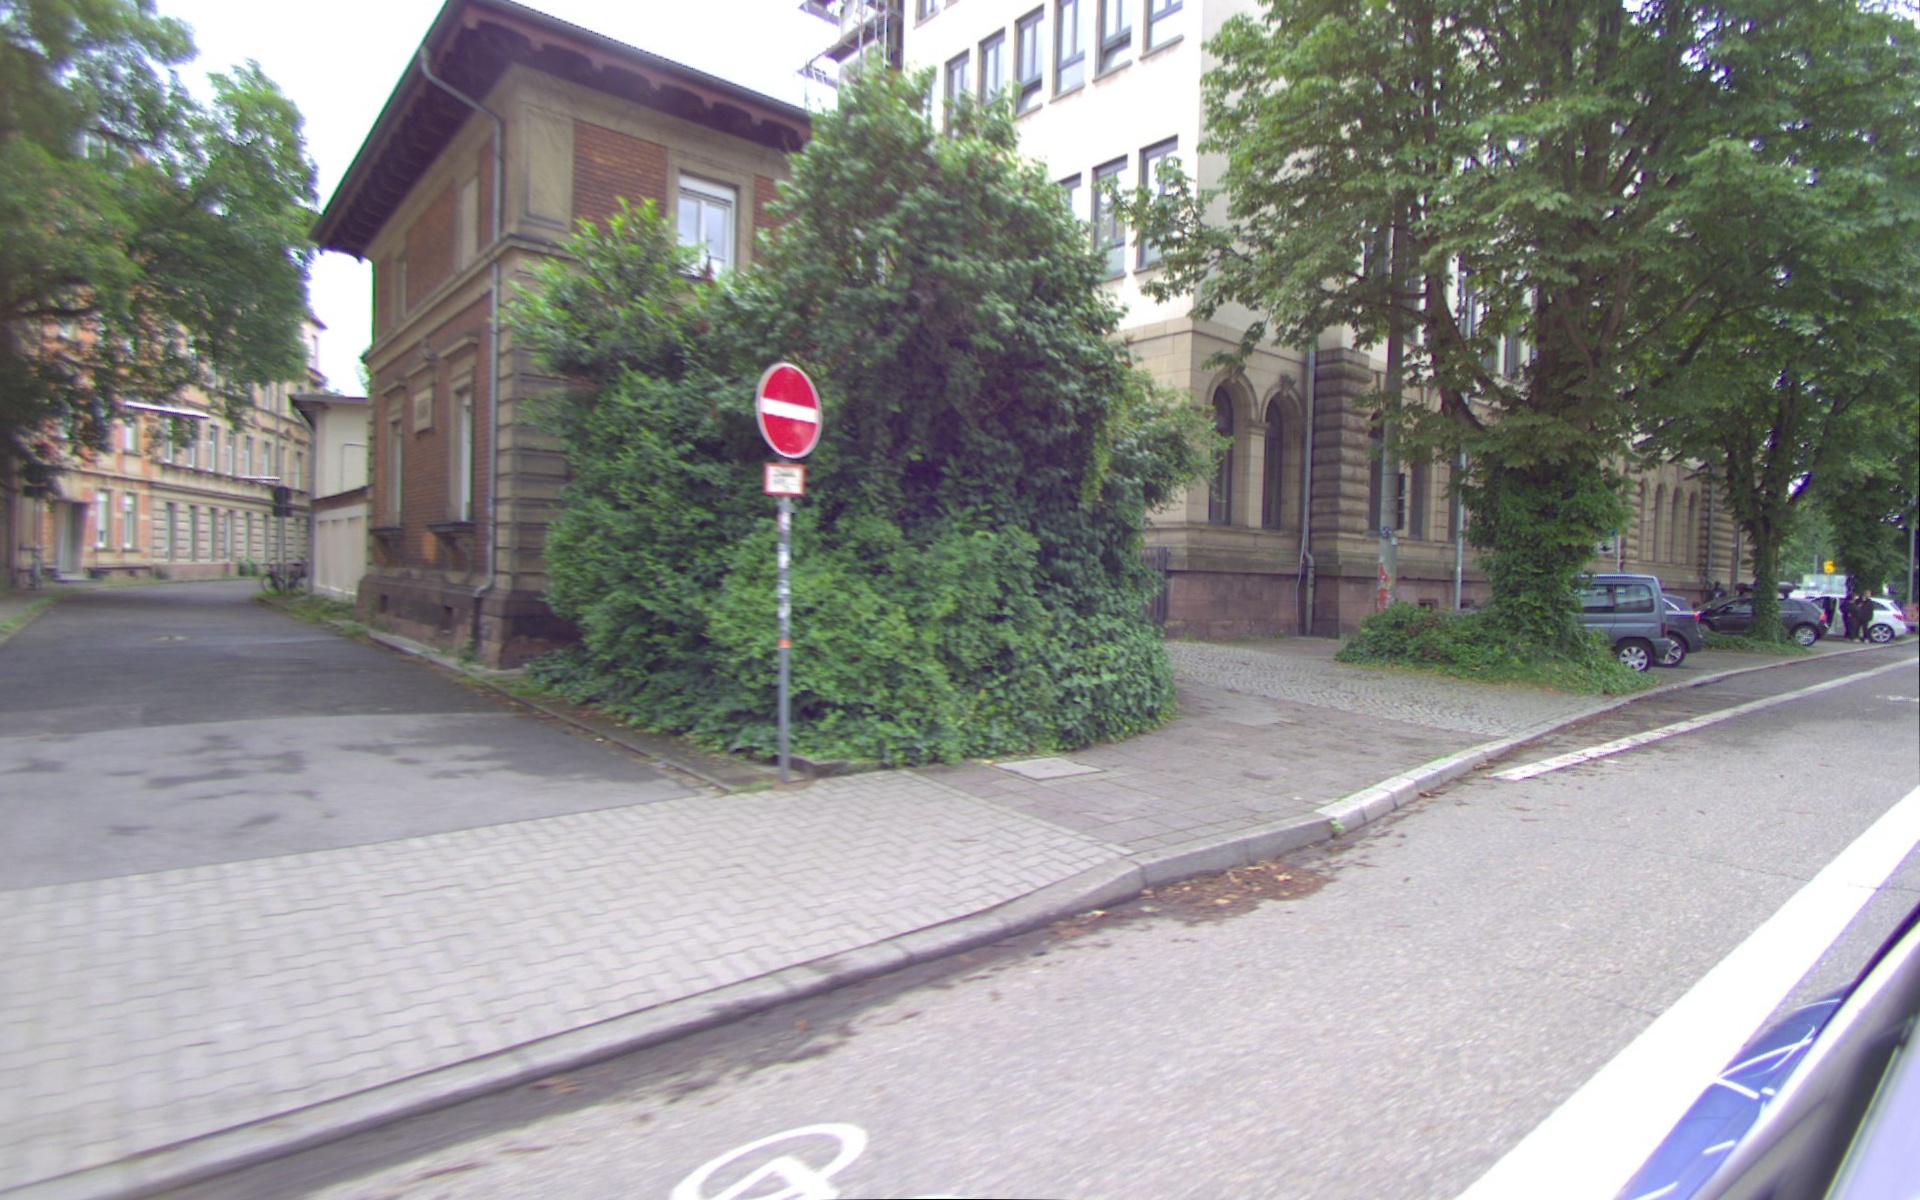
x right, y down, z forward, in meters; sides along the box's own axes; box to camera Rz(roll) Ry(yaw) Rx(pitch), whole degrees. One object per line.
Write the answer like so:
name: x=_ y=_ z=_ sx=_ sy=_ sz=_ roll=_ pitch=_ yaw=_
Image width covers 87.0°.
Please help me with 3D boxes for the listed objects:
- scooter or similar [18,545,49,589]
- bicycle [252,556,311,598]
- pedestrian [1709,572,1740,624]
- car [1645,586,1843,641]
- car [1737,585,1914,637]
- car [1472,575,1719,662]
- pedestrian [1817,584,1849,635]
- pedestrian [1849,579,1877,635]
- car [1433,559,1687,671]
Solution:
scooter or similar: x=-24.664 y=-0.894 z=26.942 sx=0.542 sy=1.142 sz=1.859 roll=0 pitch=2 yaw=-41
bicycle: x=-21.139 y=-0.722 z=31.559 sx=0.482 sy=1.287 sz=1.452 roll=3 pitch=2 yaw=44
pedestrian: x=28.431 y=-0.085 z=37.623 sx=0.738 sy=1.861 sz=0.680 roll=0 pitch=3 yaw=-40
car: x=23.392 y=0.353 z=30.374 sx=4.273 sy=1.419 sz=1.745 roll=2 pitch=2 yaw=18
car: x=29.699 y=0.344 z=34.909 sx=4.286 sy=1.571 sz=1.733 roll=2 pitch=2 yaw=28
car: x=13.204 y=0.326 z=21.320 sx=3.944 sy=1.558 sz=1.856 roll=3 pitch=2 yaw=16
pedestrian: x=28.807 y=0.292 z=33.393 sx=0.638 sy=1.646 sz=0.586 roll=2 pitch=1 yaw=27
pedestrian: x=29.402 y=0.221 z=32.958 sx=0.612 sy=1.772 sz=0.676 roll=2 pitch=1 yaw=41
car: x=11.223 y=0.217 z=19.253 sx=3.792 sy=1.843 sz=1.796 roll=3 pitch=2 yaw=20
